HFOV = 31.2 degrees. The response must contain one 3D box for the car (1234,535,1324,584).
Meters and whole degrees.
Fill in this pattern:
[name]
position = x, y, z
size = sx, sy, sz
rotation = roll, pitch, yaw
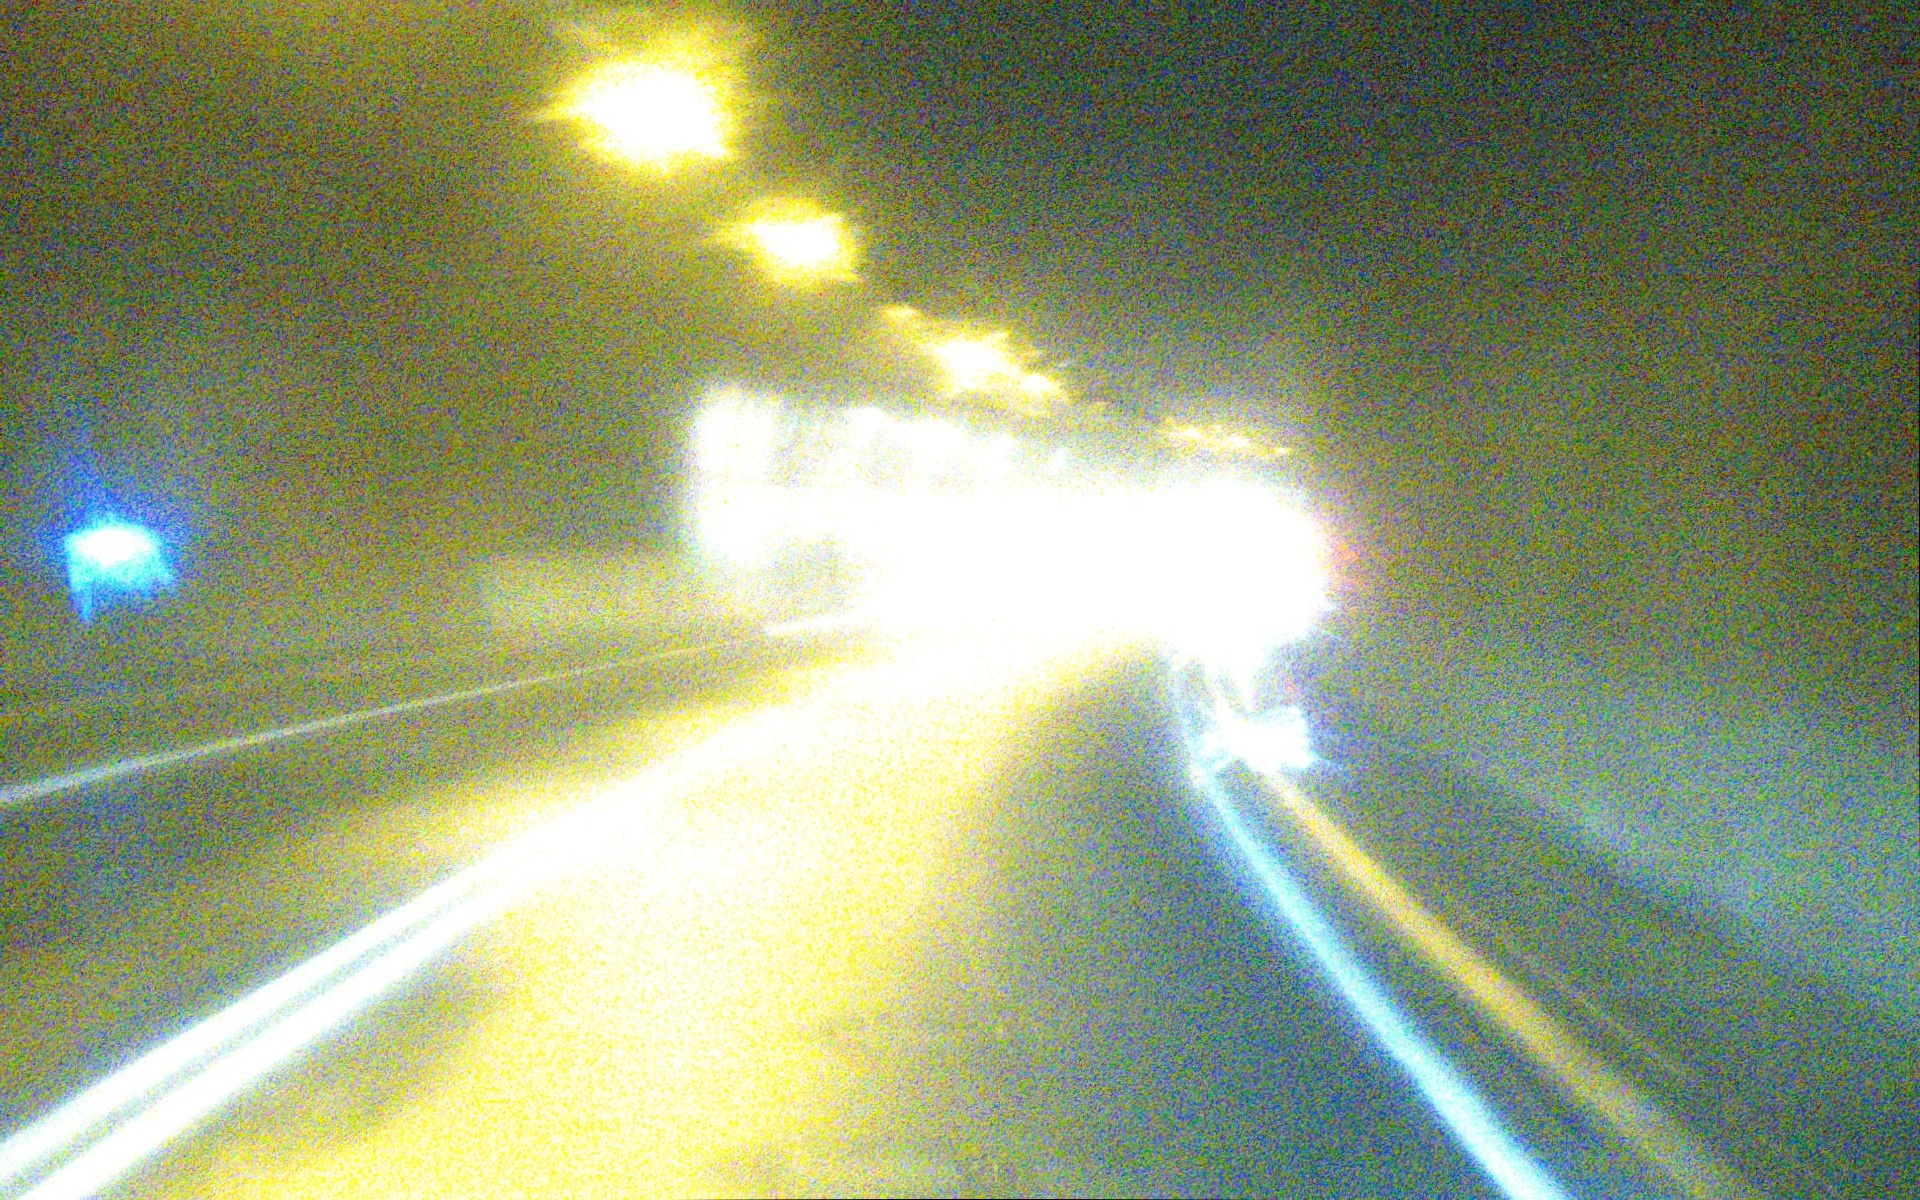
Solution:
[car]
position = 10.914, -1.390, 117.411
size = 1.996, 1.645, 3.996
rotation = 1, 1, 21
